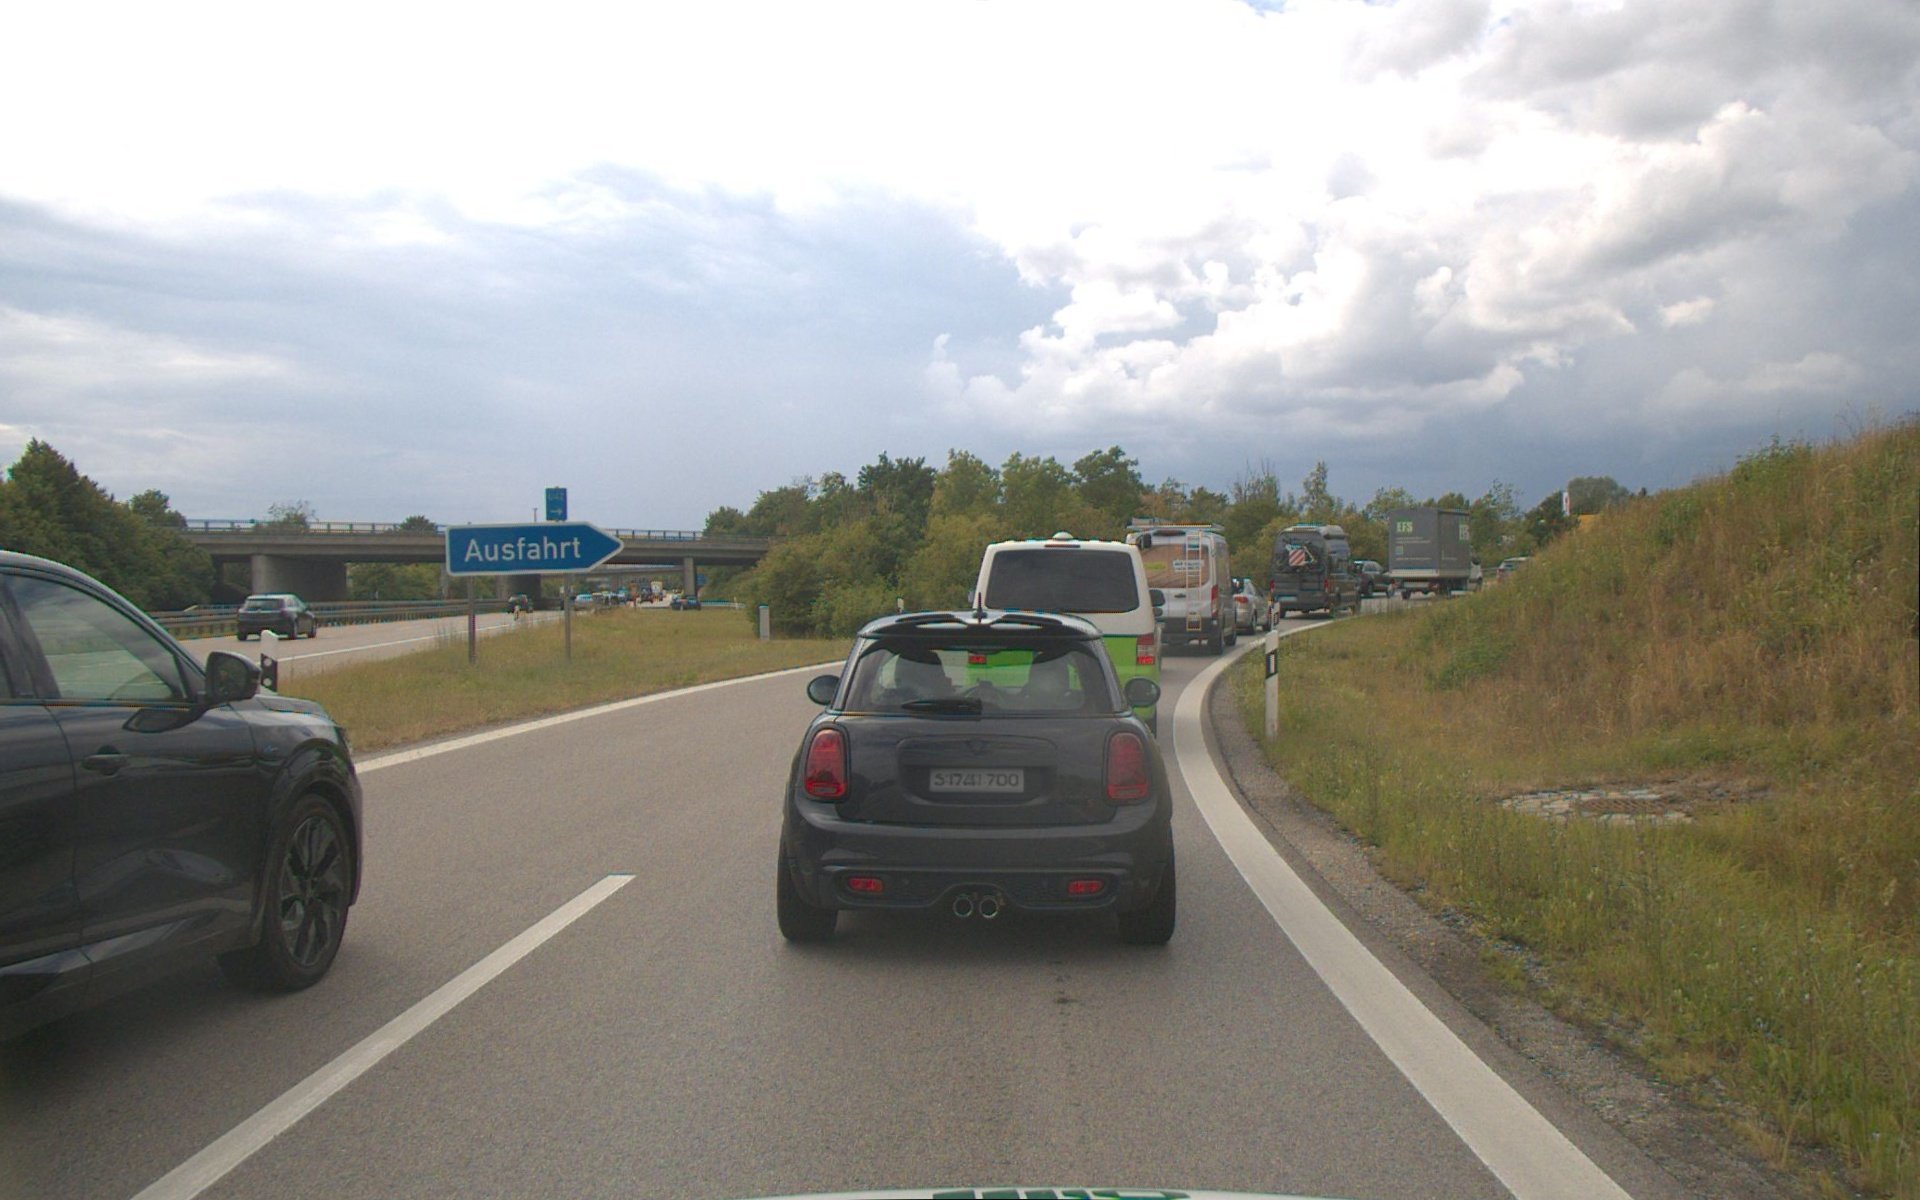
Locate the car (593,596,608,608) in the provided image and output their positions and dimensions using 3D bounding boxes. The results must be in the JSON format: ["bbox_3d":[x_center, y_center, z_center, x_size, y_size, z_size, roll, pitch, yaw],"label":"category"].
[{"bbox_3d":[-45.294,0.268,208.348,1.748,1.423,4.295,-1,0,-10],"label":"car"}]

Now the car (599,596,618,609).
[{"bbox_3d":[-38.849,0.302,182.766,1.746,1.423,4.023,-1,0,-7],"label":"car"}]

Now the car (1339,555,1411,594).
[{"bbox_3d":[17.986,-1.061,71.577,1.764,1.583,3.948,0,-1,34],"label":"car"}]

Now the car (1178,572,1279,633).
[{"bbox_3d":[7.144,0.050,43.772,1.828,1.536,4.000,0,0,22],"label":"car"}]

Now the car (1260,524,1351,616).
[{"bbox_3d":[11.216,-0.951,53.467,2.063,2.845,3.998,1,1,24],"label":"car"}]

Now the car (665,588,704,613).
[{"bbox_3d":[-23.464,0.032,140.906,1.973,2.049,3.959,1,-1,-30],"label":"car"}]

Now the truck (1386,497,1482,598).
[{"bbox_3d":[19.968,-2.115,69.494,2.189,3.975,5.998,0,-1,33],"label":"truck"}]

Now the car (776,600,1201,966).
[{"bbox_3d":[0.094,0.731,8.457,1.692,1.438,3.724,0,0,-1],"label":"car"}]

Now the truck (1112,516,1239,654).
[{"bbox_3d":[4.659,-0.341,35.092,2.132,2.705,5.113,-1,1,13],"label":"truck"}]

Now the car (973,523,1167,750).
[{"bbox_3d":[1.224,0.315,17.054,1.746,2.049,4.003,0,0,7],"label":"car"}]

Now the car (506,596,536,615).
[{"bbox_3d":[-35.065,0.424,132.267,1.746,1.423,4.298,-1,0,-8],"label":"car"}]

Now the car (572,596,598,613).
[{"bbox_3d":[-32.708,0.413,144.373,1.746,1.423,4.543,-1,0,-8],"label":"car"}]

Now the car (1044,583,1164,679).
[{"bbox_3d":[2.387,0.458,26.666,1.724,1.423,3.728,-1,0,8],"label":"car"}]

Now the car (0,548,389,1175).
[{"bbox_3d":[-3.320,0.650,4.575,1.795,1.593,4.498,1,0,1],"label":"car"}]

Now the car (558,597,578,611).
[{"bbox_3d":[-39.732,0.368,167.794,1.747,1.423,4.296,-1,0,-10],"label":"car"}]

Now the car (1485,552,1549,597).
[{"bbox_3d":[26.574,-1.195,78.889,1.958,2.049,3.988,0,-1,33],"label":"car"}]

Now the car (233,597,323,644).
[{"bbox_3d":[-22.759,0.648,55.365,1.690,1.449,4.787,-1,0,-9],"label":"car"}]
